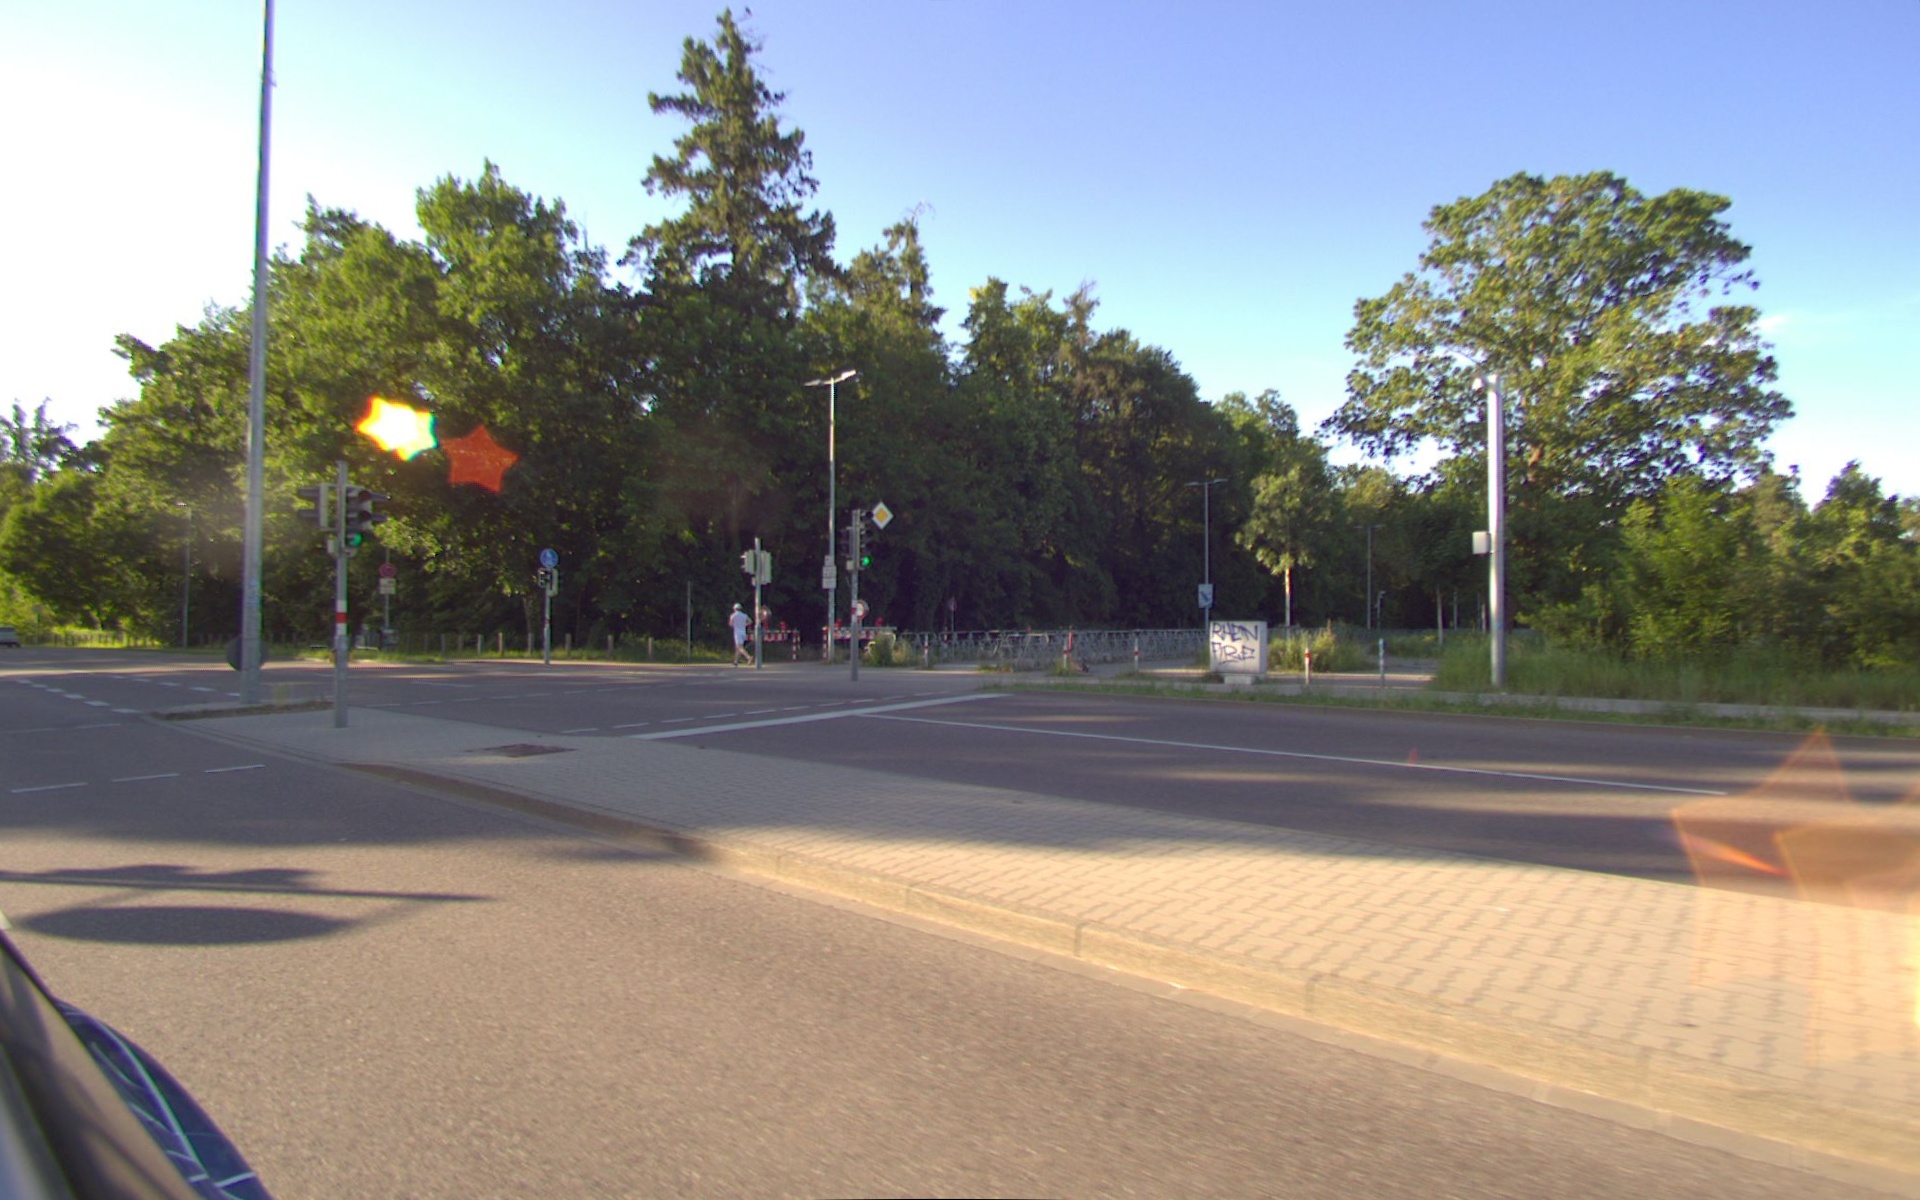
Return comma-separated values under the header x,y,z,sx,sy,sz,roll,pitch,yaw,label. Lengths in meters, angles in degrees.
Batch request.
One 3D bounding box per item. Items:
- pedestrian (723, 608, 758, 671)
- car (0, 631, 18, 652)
x,y,z,sx,sy,sz,roll,pitch,yaw,label
-6.299,1.134,29.011,0.734,1.788,0.681,-2,-3,44,pedestrian
-63.567,2.702,66.515,4.000,1.364,1.600,-1,-2,35,car
